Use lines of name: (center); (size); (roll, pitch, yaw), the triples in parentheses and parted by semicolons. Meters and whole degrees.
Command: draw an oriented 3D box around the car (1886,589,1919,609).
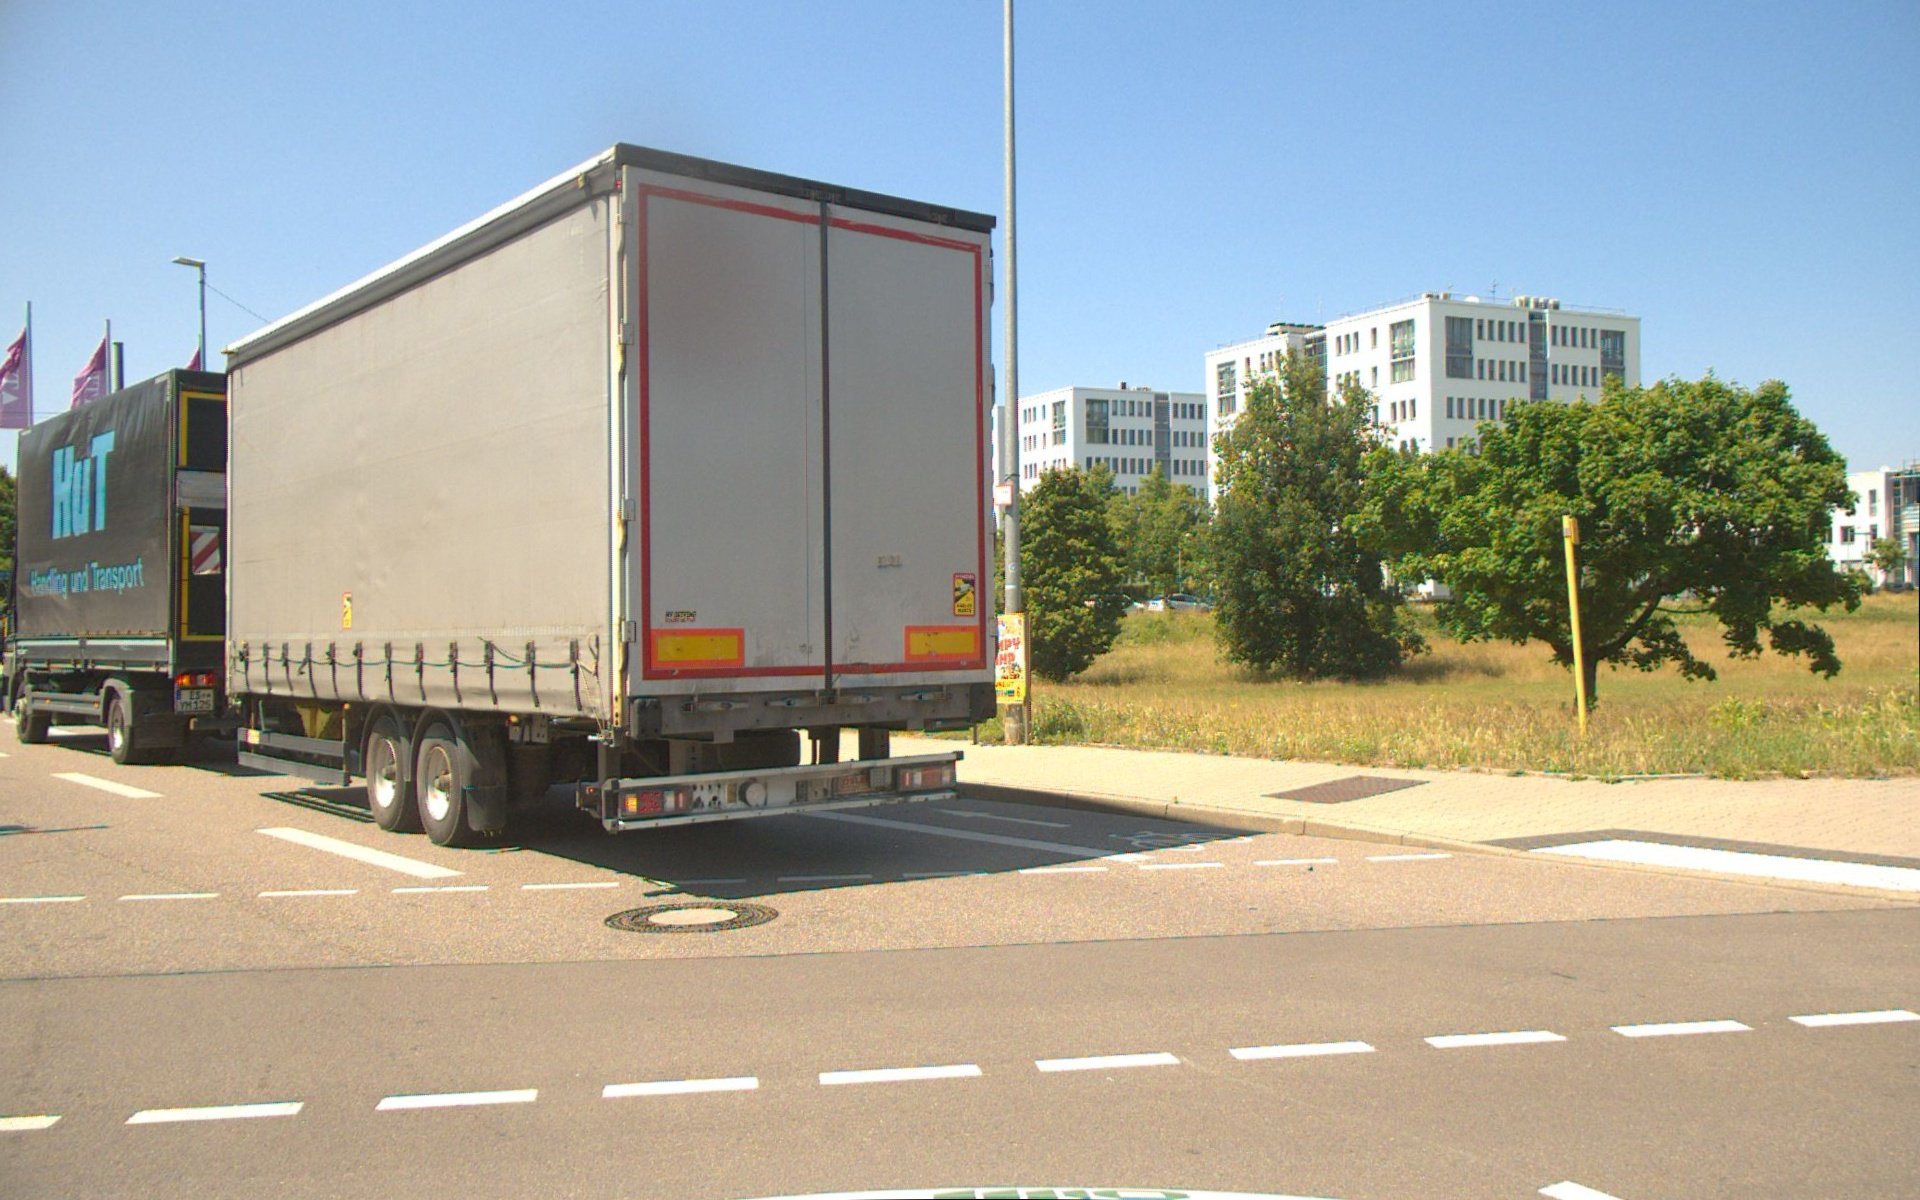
car: (101.283, -0.137, 177.322); (3.956, 2.049, 1.974); (0, -1, -36)

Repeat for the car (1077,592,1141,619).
car: (8.962, 0.358, 99.500); (3.578, 1.560, 1.688); (1, -1, -31)

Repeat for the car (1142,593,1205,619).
car: (13.173, 0.377, 102.009); (3.578, 1.560, 1.688); (1, -1, -31)

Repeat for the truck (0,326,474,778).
truck: (-8.834, -0.395, 19.083); (3.062, 4.141, 7.833); (1, -1, -43)

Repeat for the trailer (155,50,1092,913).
trailer: (-3.392, -0.537, 12.711); (3.056, 4.141, 9.673); (0, 0, -38)

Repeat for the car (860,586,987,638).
car: (-2.035, 0.675, 92.706); (6.764, 2.851, 2.639); (0, -2, -32)
